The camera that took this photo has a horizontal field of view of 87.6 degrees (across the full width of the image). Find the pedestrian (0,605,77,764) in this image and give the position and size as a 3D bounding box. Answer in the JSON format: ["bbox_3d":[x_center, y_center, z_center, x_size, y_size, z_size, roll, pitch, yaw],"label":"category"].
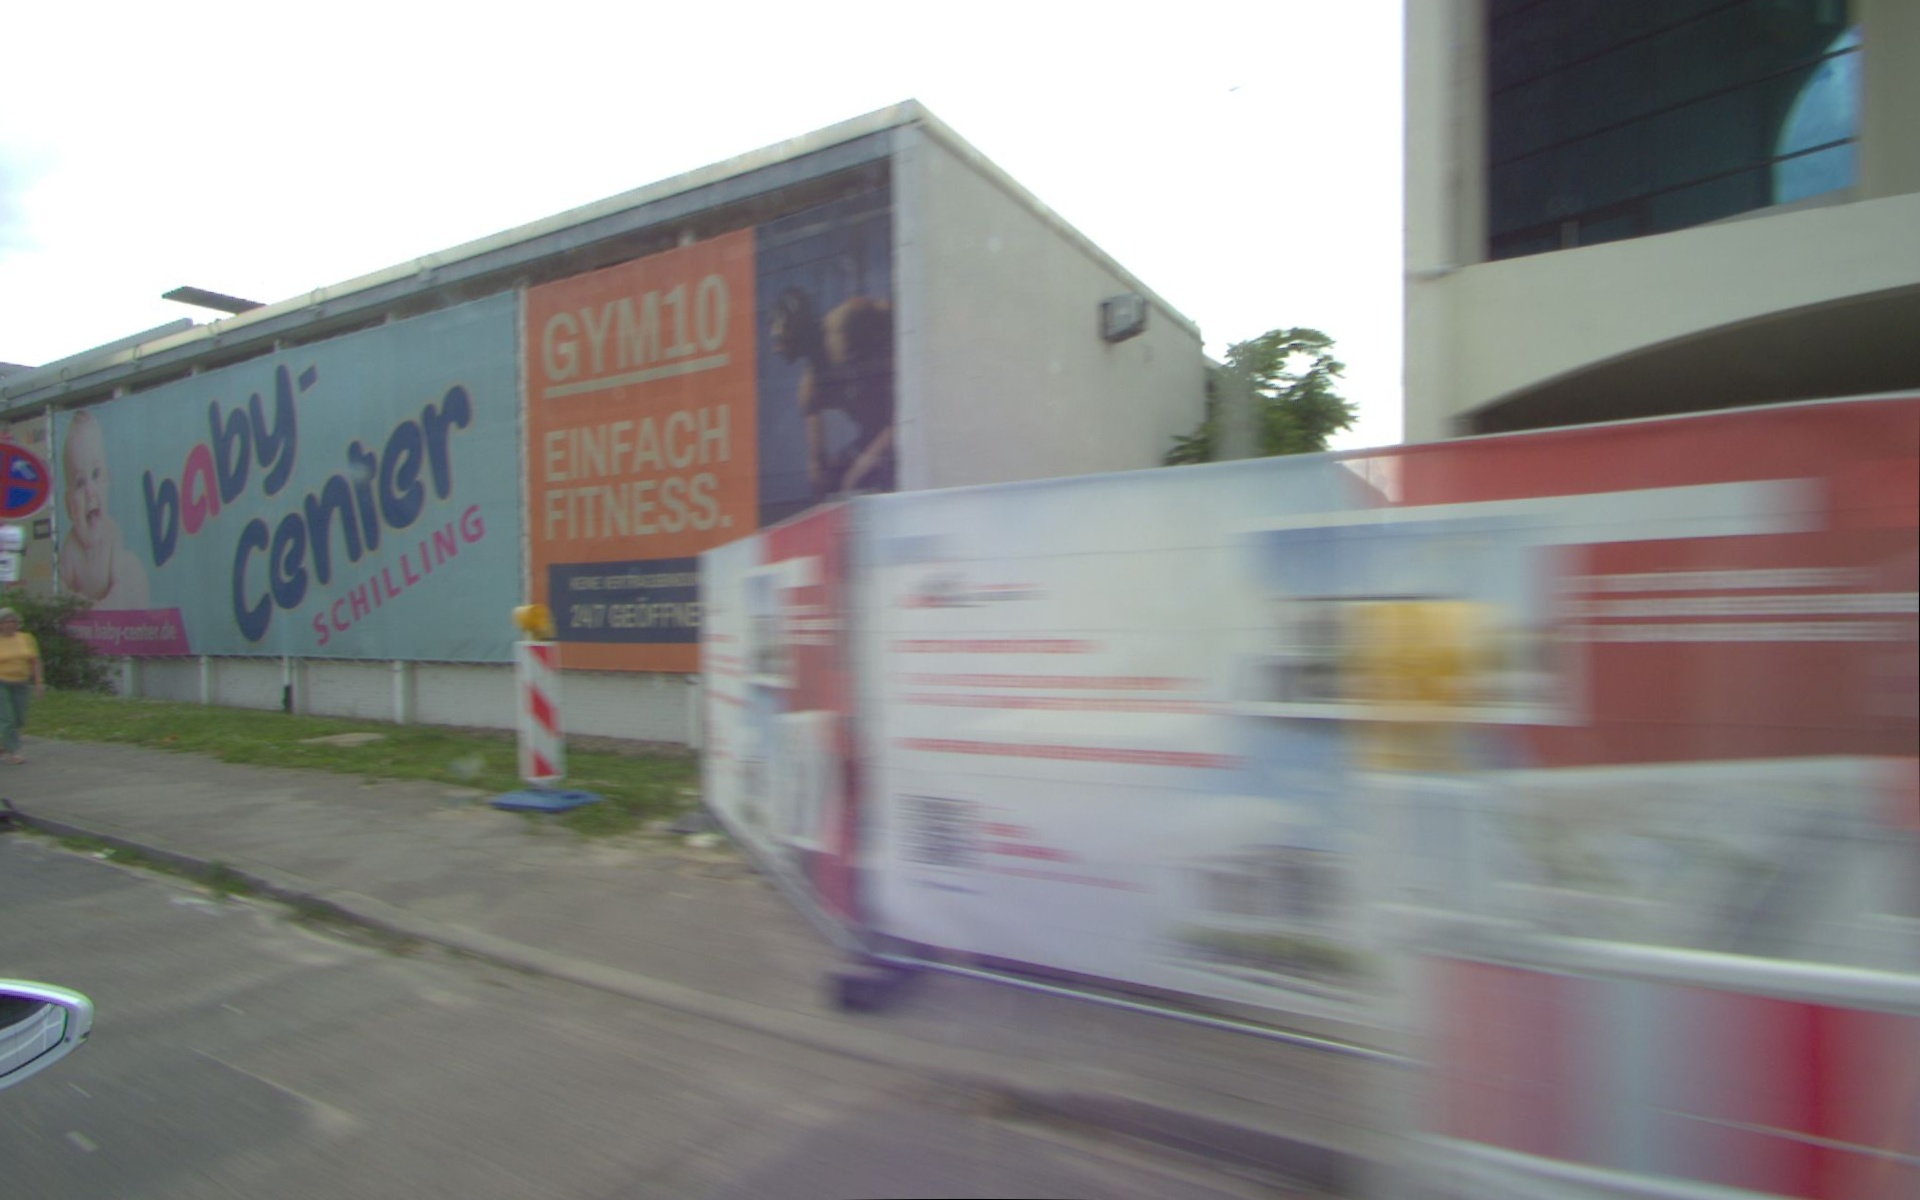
[{"bbox_3d":[-9.764,0.830,10.258,1.112,1.554,0.681,-1,0,26],"label":"pedestrian"}]
